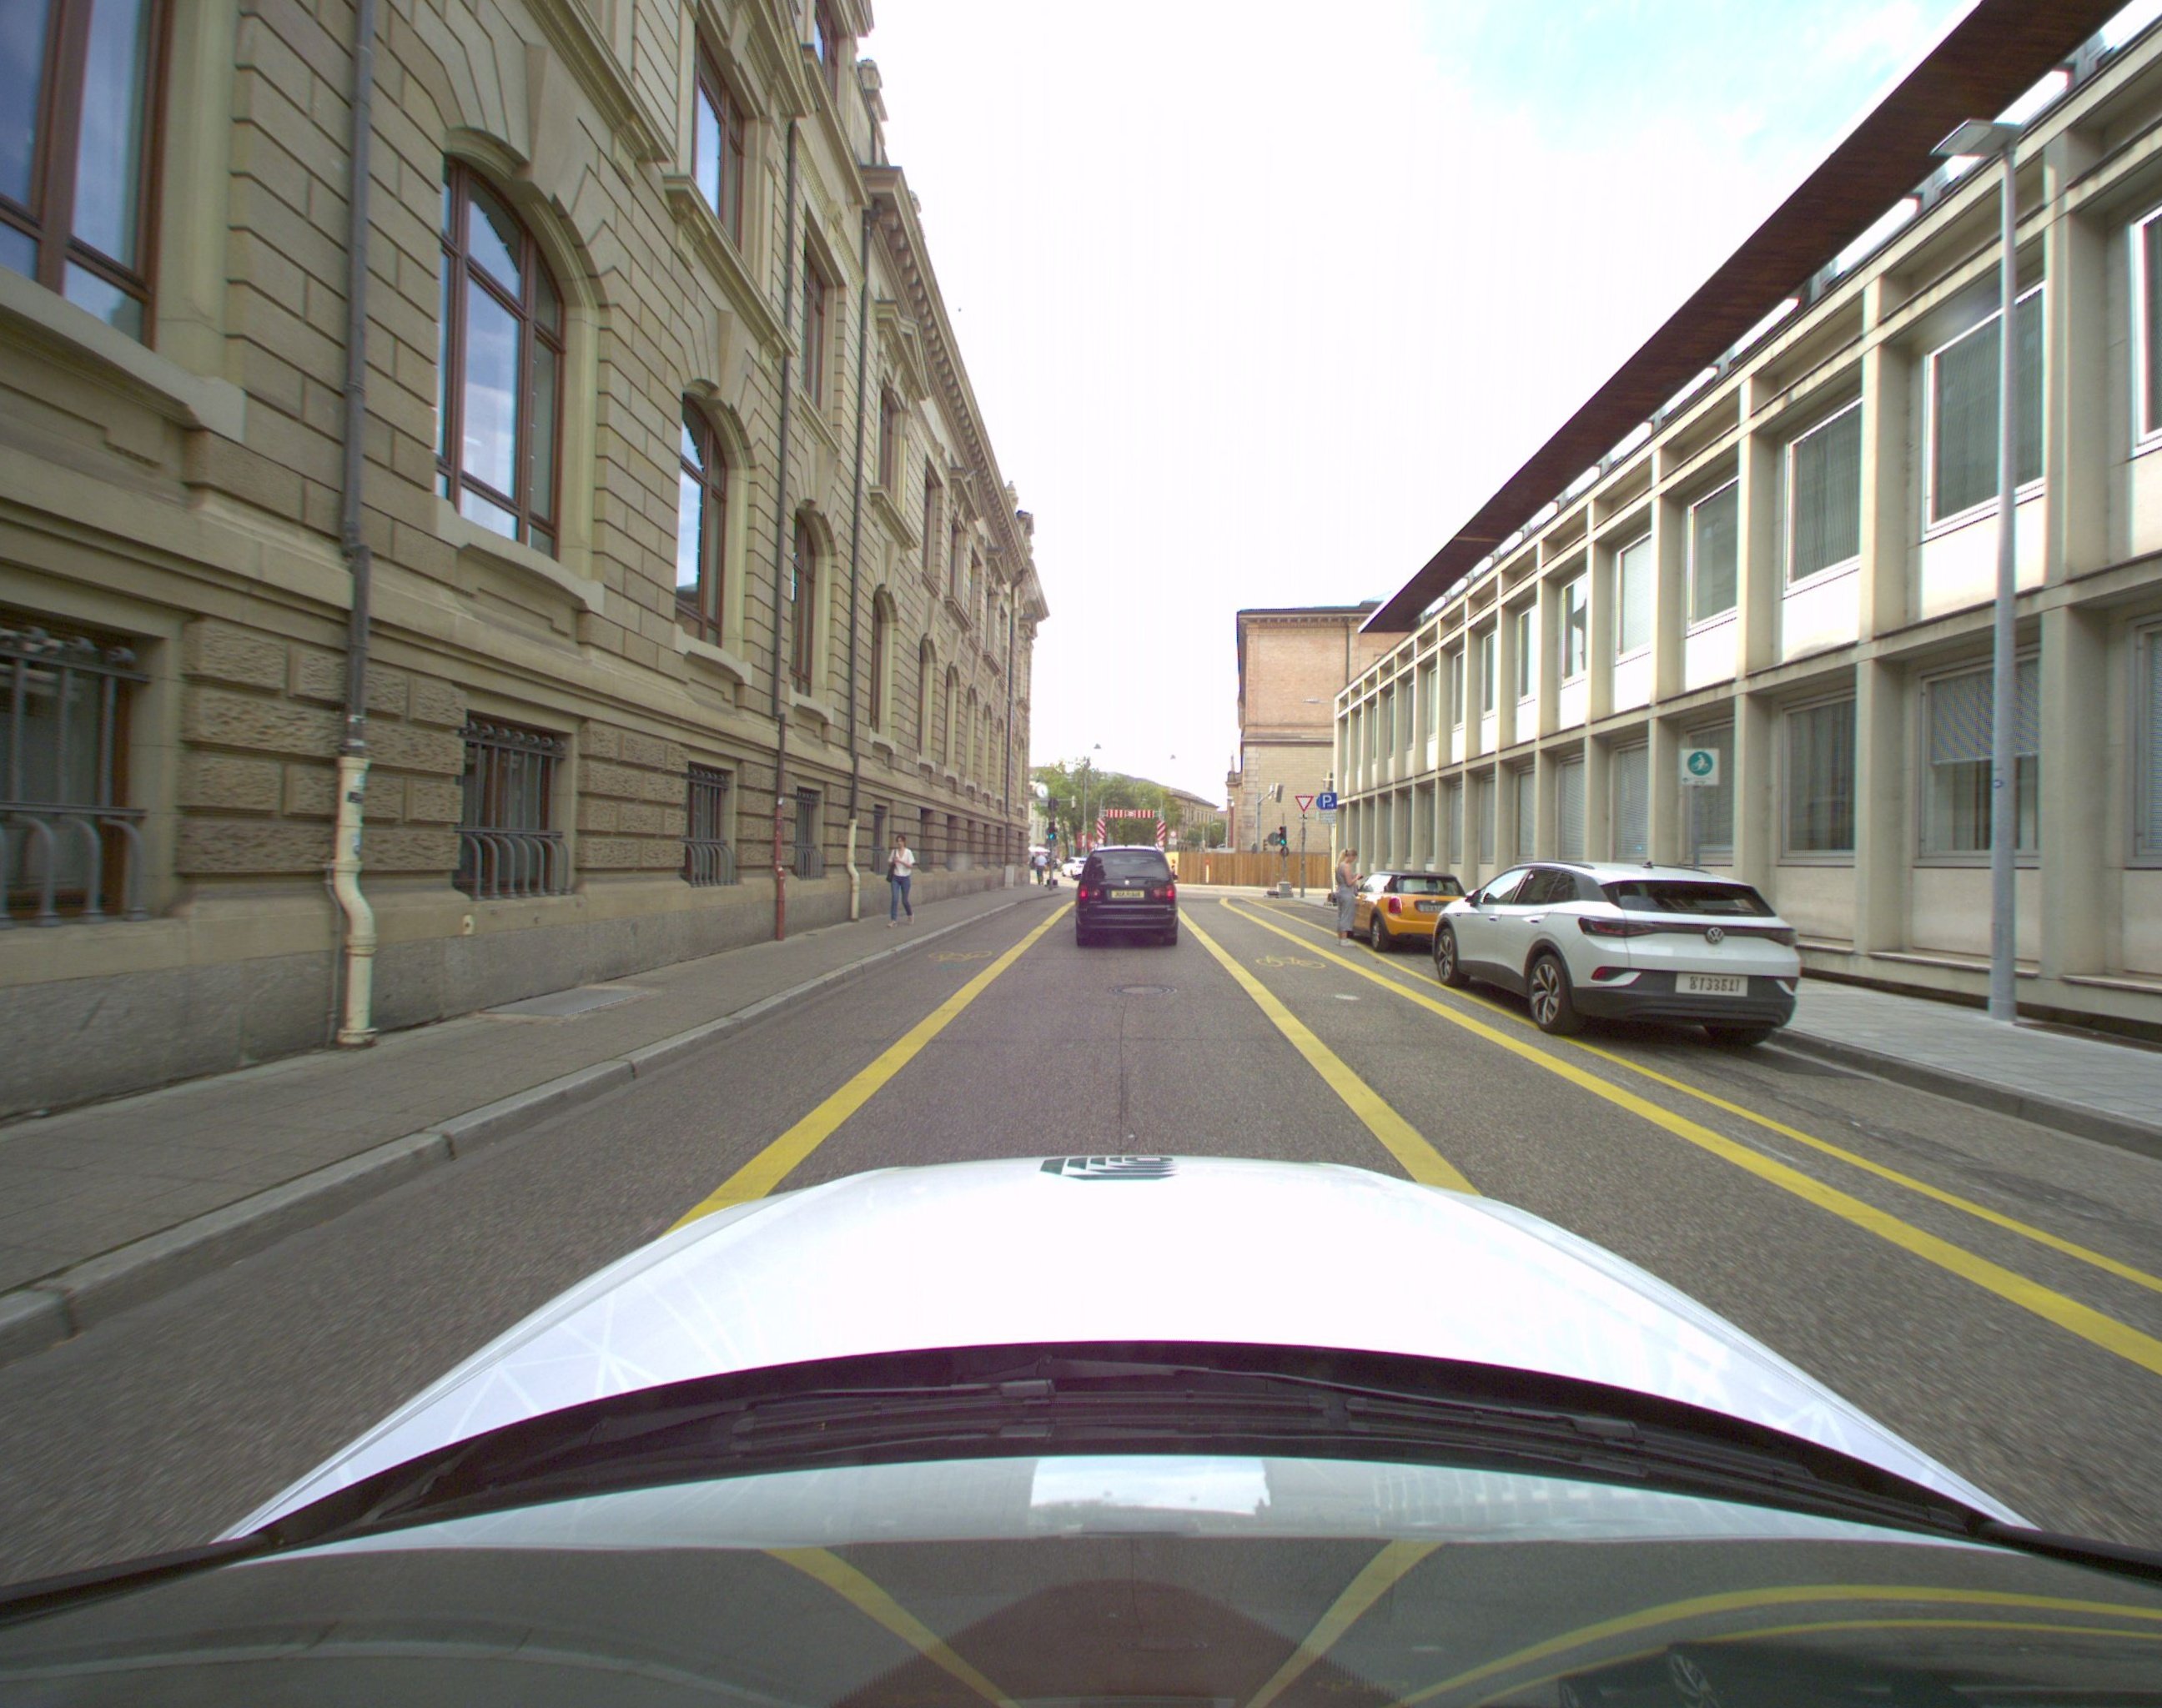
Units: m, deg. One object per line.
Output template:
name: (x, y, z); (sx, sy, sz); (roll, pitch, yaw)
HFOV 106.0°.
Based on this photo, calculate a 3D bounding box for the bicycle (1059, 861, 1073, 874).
bicycle: (-1.267, 1.133, 67.915); (0.736, 1.009, 2.060); (1, -1, -12)

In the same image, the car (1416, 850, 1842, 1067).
car: (5.317, 0.860, 8.803); (1.851, 1.605, 4.519); (4, 0, 6)

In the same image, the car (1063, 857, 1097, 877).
car: (-0.109, 0.921, 58.220); (1.652, 1.321, 3.658); (1, -1, -14)

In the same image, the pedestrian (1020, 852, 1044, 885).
pedestrian: (-2.785, 0.816, 46.307); (1.034, 1.819, 0.799); (2, -1, 39)

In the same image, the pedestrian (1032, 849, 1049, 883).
pedestrian: (-2.205, 0.660, 44.510); (0.789, 1.819, 1.048); (2, -1, 3)

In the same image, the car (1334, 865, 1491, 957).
car: (5.986, 0.953, 15.180); (1.672, 1.435, 3.892); (2, -1, 6)

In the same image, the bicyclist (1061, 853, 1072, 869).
bicyclist: (-1.236, 0.589, 67.822); (0.736, 1.375, 0.828); (1, -1, -12)

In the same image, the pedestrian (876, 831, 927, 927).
pedestrian: (-3.570, 0.486, 16.270); (0.661, 1.819, 1.048); (2, -1, 3)

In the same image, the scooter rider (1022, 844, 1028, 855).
scooter rider: (-7.262, -0.572, 105.611); (0.596, 1.490, 0.680); (0, -1, 6)

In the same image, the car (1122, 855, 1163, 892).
car: (2.764, 0.861, 37.388); (1.766, 1.586, 4.003); (1, -1, 3)

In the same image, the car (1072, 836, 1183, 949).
car: (0.958, 0.648, 15.278); (1.781, 1.790, 4.109); (1, -1, 6)

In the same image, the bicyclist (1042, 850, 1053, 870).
bicyclist: (-2.796, 0.521, 67.865); (0.736, 1.612, 0.691); (1, -1, -14)

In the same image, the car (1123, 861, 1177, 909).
car: (2.275, 1.012, 27.591); (1.671, 1.469, 4.106); (1, -1, 3)

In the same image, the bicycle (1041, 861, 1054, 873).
bicycle: (-2.797, 1.105, 67.826); (0.736, 1.009, 2.059); (1, -1, -13)

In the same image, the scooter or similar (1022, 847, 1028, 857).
scooter or similar: (-7.251, -0.281, 105.639); (0.596, 1.255, 1.555); (0, -1, 6)

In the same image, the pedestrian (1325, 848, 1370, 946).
pedestrian: (4.921, 0.780, 15.059); (0.693, 1.764, 0.707); (0, -1, 9)

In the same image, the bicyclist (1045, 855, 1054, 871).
bicyclist: (-2.995, 0.871, 77.547); (0.735, 1.470, 0.806); (1, -1, -9)
